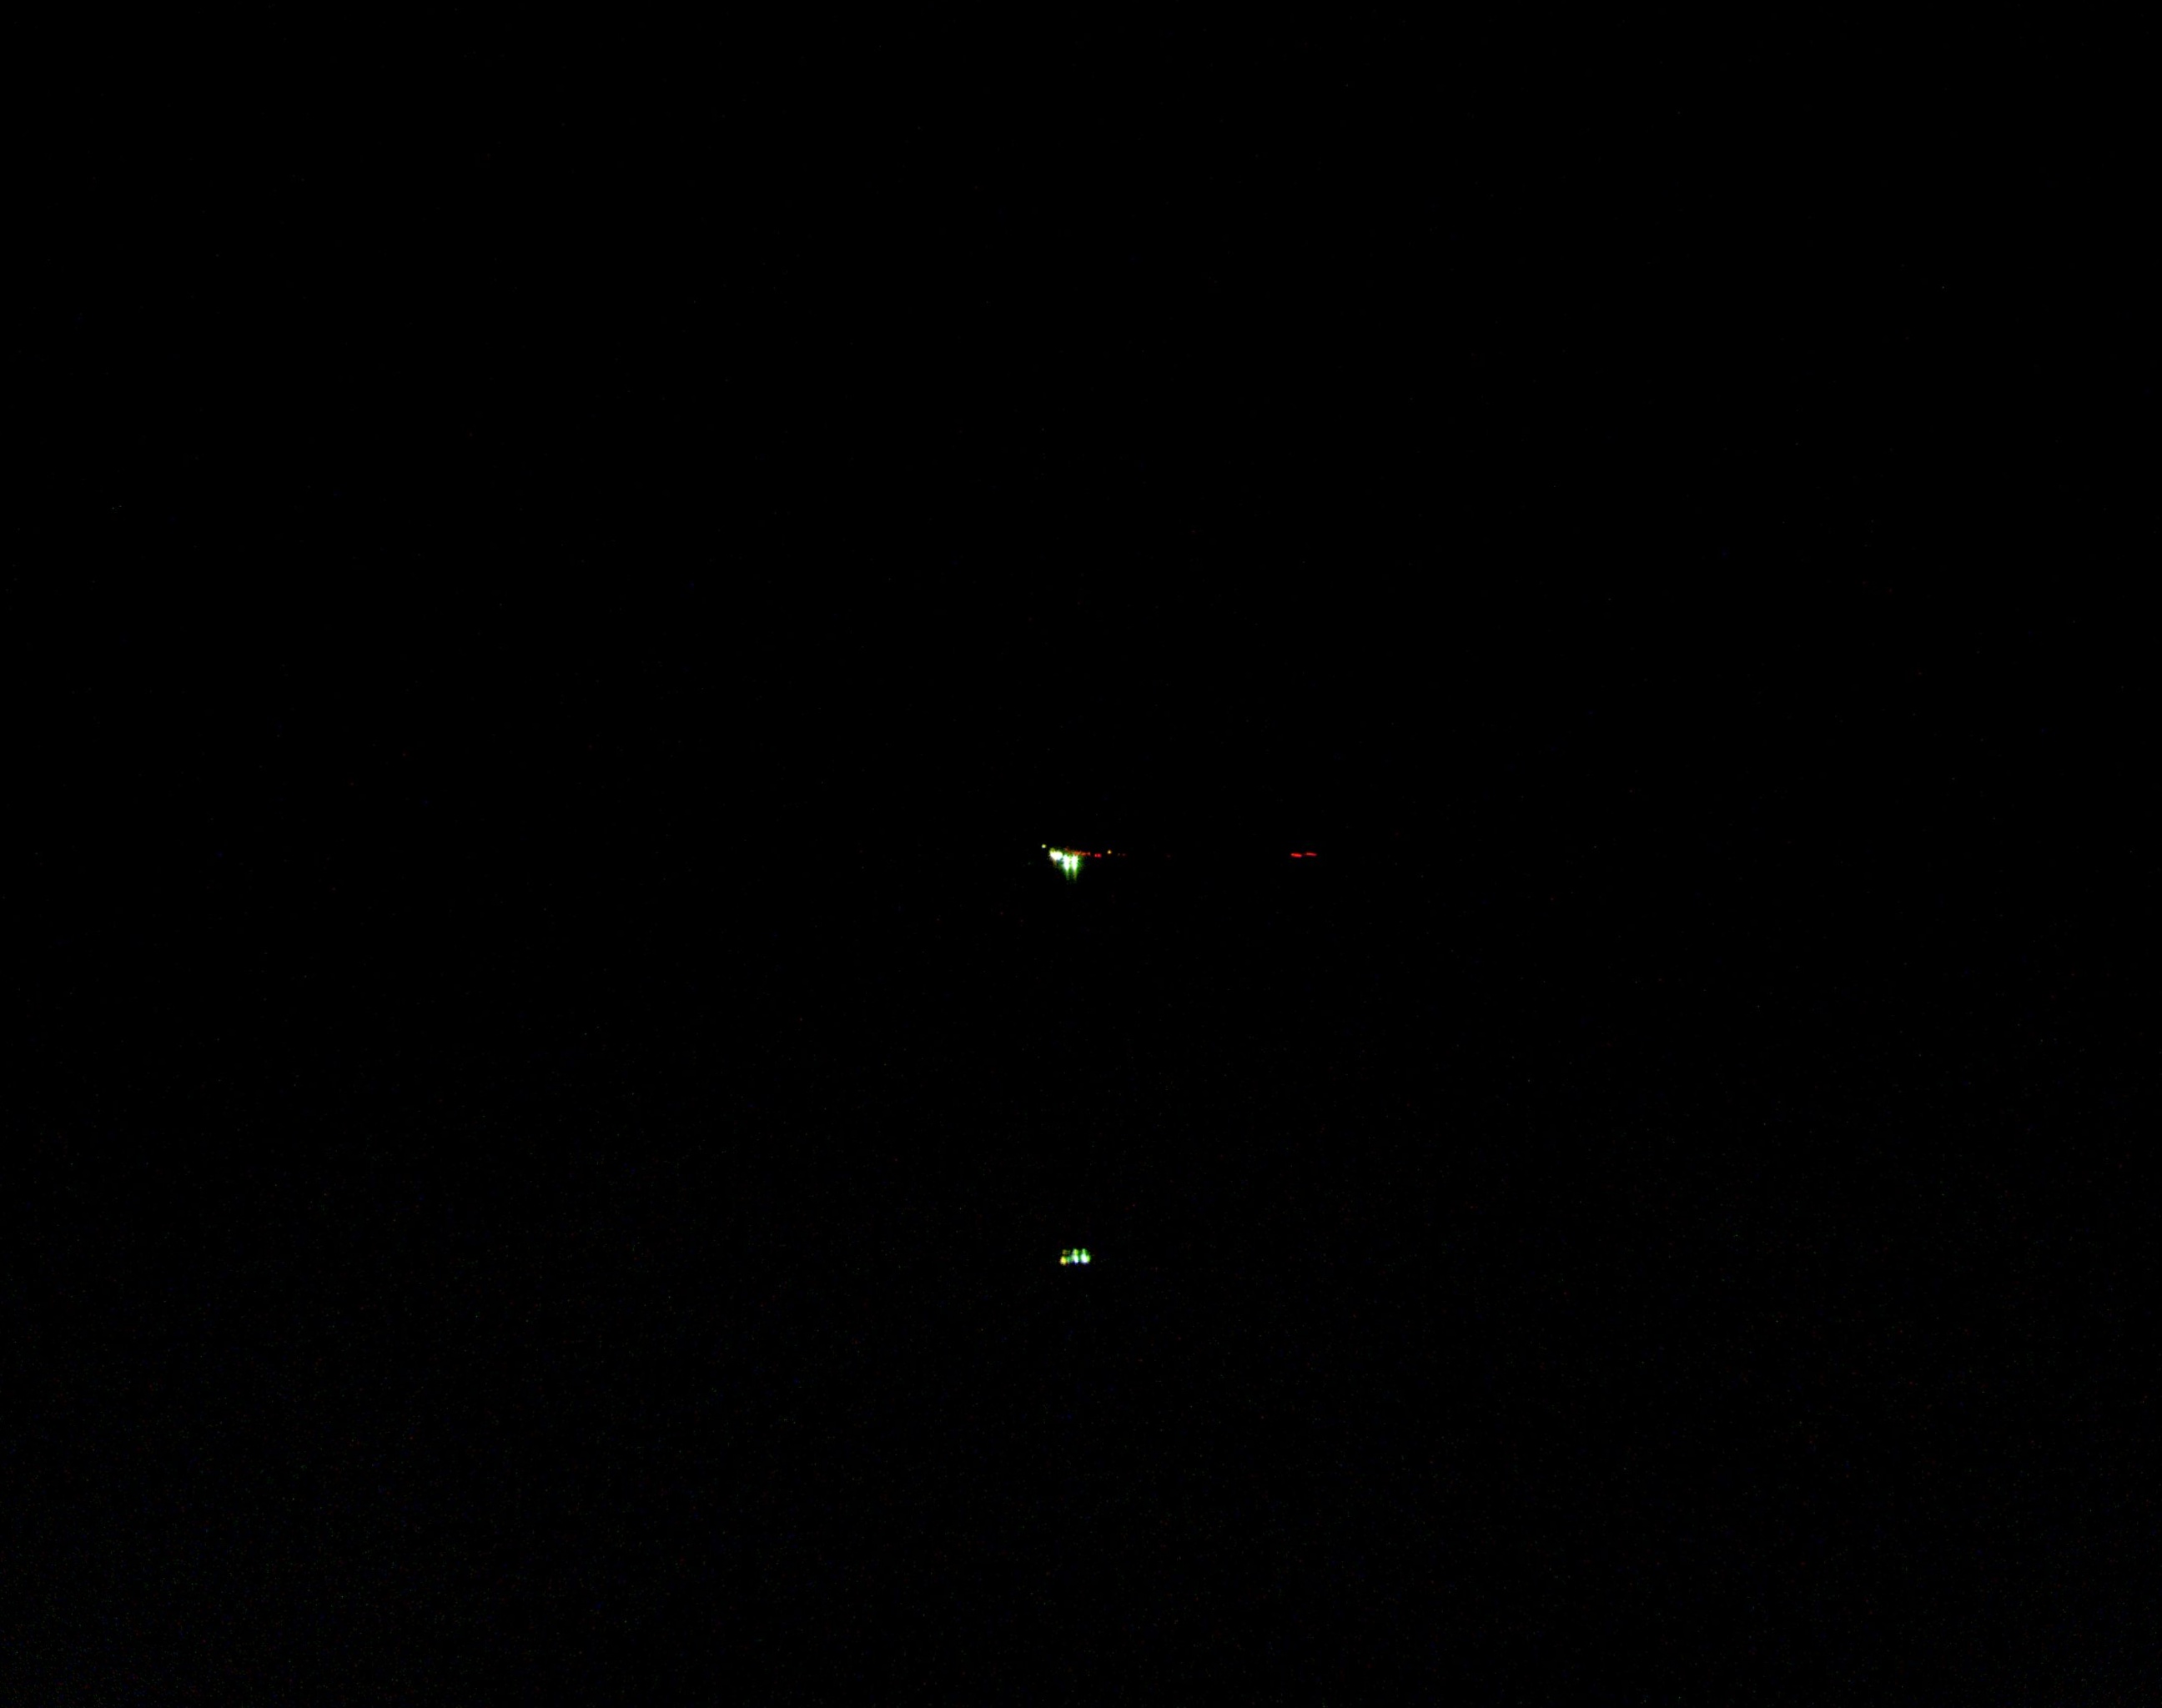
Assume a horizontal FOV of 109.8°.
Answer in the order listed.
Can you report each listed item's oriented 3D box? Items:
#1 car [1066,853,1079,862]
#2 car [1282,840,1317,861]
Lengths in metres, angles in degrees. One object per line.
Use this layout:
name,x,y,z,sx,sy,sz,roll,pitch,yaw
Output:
car,-1.463,0.576,134.210,2.154,1.558,4.580,-2,1,-2
car,22.658,-0.369,78.965,2.031,2.002,5.186,-2,1,0
